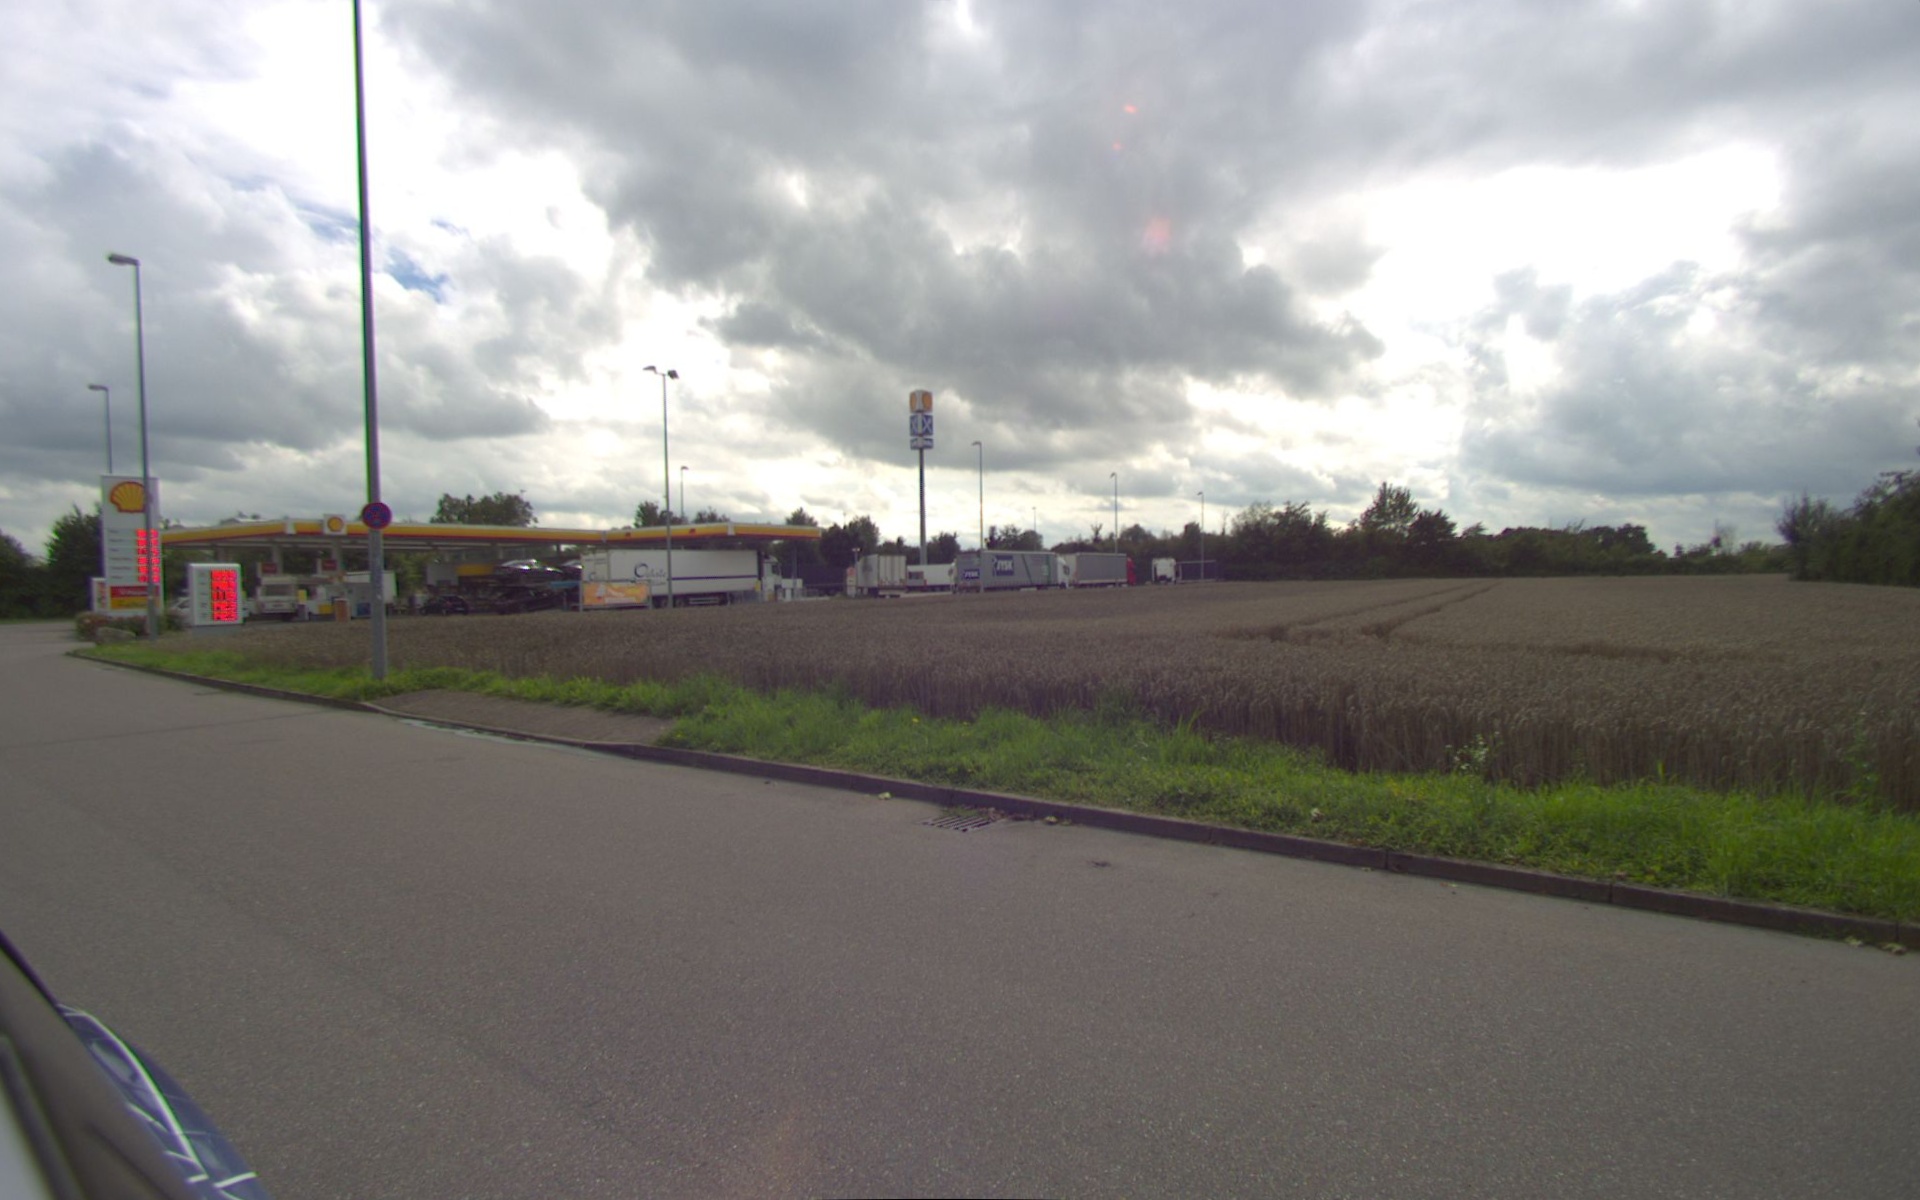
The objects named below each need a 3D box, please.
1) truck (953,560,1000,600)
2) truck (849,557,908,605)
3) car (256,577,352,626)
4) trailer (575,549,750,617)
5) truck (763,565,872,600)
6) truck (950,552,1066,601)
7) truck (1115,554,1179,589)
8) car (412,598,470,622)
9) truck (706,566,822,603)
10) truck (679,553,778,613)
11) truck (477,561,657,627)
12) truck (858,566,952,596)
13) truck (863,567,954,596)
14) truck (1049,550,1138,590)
[{"bbox_3d":[1.715,-2.278,114.295,2.946,4.141,11.601,-2,2,-10],"label":"truck"},{"bbox_3d":[-7.900,-1.804,95.727,2.913,4.143,14.791,-1,1,-14],"label":"truck"},{"bbox_3d":[-40.443,0.045,62.609,2.193,2.807,5.810,-2,1,-1],"label":"car"},{"bbox_3d":[-19.443,-1.190,67.559,2.702,4.055,12.716,-1,1,30],"label":"trailer"},{"bbox_3d":[-17.199,-2.139,122.401,12.796,3.922,2.832,-1,1,-13],"label":"truck"},{"bbox_3d":[4.541,-2.113,88.523,2.816,3.922,15.290,0,2,33],"label":"truck"},{"bbox_3d":[22.248,-3.424,119.836,2.816,3.922,12.667,0,2,33],"label":"truck"},{"bbox_3d":[-36.290,0.701,70.712,3.743,1.613,1.701,-1,1,27],"label":"car"},{"bbox_3d":[-22.062,-1.807,114.228,12.593,3.922,2.832,-1,1,-15],"label":"truck"},{"bbox_3d":[-16.514,-1.230,72.661,2.702,4.055,7.095,-1,1,30],"label":"truck"},{"bbox_3d":[-25.464,-0.521,66.893,2.734,3.953,13.159,0,1,23],"label":"truck"},{"bbox_3d":[-7.627,-2.610,140.256,12.593,3.922,2.832,-1,1,-15],"label":"truck"},{"bbox_3d":[-7.389,-2.681,145.735,12.593,3.922,2.832,-1,1,-15],"label":"truck"},{"bbox_3d":[14.031,-3.112,104.526,2.816,3.922,15.290,0,2,33],"label":"truck"}]
